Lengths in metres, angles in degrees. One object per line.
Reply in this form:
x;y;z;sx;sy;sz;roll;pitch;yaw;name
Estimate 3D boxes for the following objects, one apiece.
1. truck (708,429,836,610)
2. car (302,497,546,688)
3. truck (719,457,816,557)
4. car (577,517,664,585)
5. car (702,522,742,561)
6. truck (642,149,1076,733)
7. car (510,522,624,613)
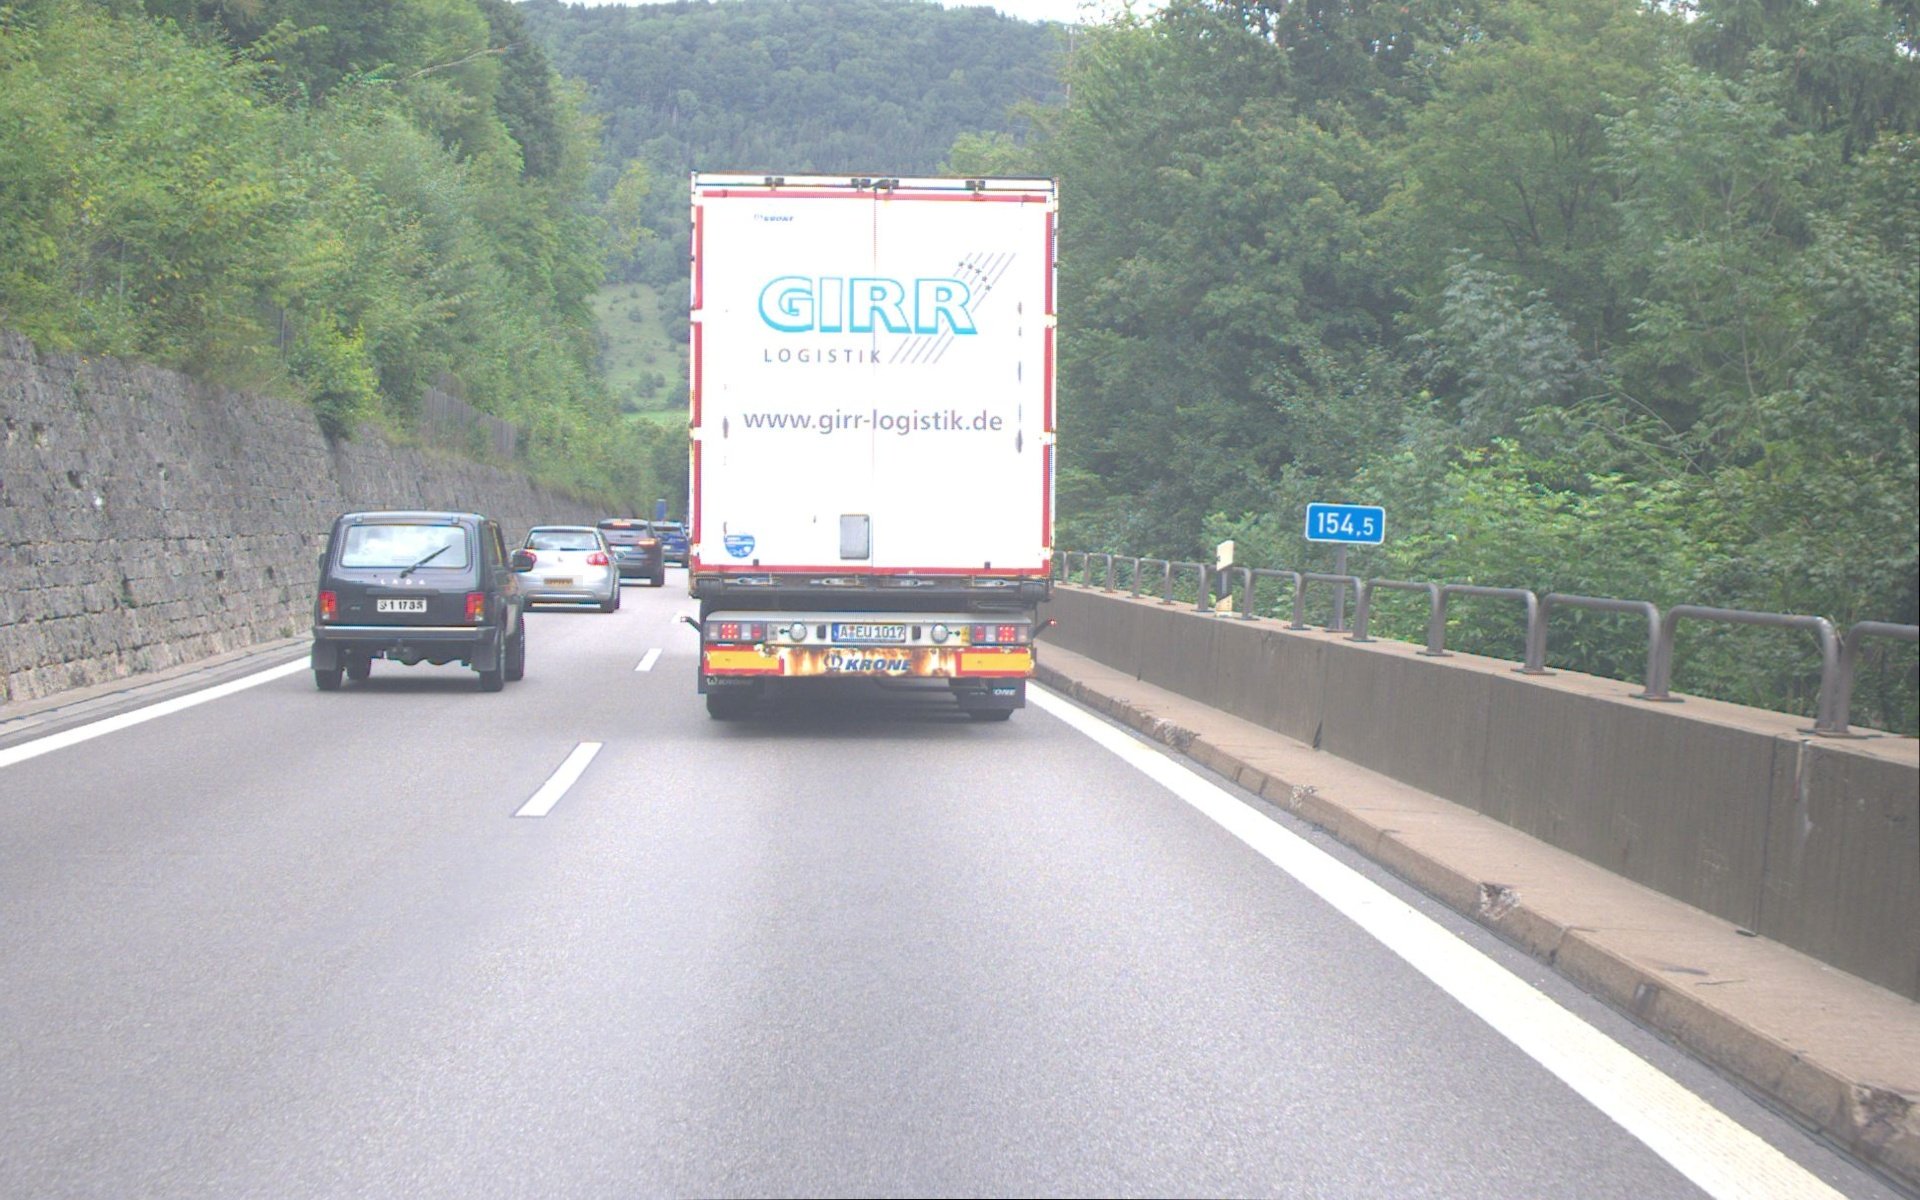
-4.054;-1.664;73.015;2.486;3.559;9.310;1;1;-4;truck
-4.888;-0.092;31.812;1.669;1.633;4.068;1;1;-1;car
-7.917;-3.777;142.848;3.511;3.834;11.777;1;0;-1;truck
-8.182;-1.184;83.039;1.916;1.589;4.179;1;1;-3;car
-12.948;-3.162;187.147;1.993;2.007;4.000;1;0;-2;car
-0.728;-1.165;28.130;2.908;3.947;9.279;1;1;0;truck
-6.705;-0.563;58.958;1.729;1.481;4.001;1;1;-4;car
